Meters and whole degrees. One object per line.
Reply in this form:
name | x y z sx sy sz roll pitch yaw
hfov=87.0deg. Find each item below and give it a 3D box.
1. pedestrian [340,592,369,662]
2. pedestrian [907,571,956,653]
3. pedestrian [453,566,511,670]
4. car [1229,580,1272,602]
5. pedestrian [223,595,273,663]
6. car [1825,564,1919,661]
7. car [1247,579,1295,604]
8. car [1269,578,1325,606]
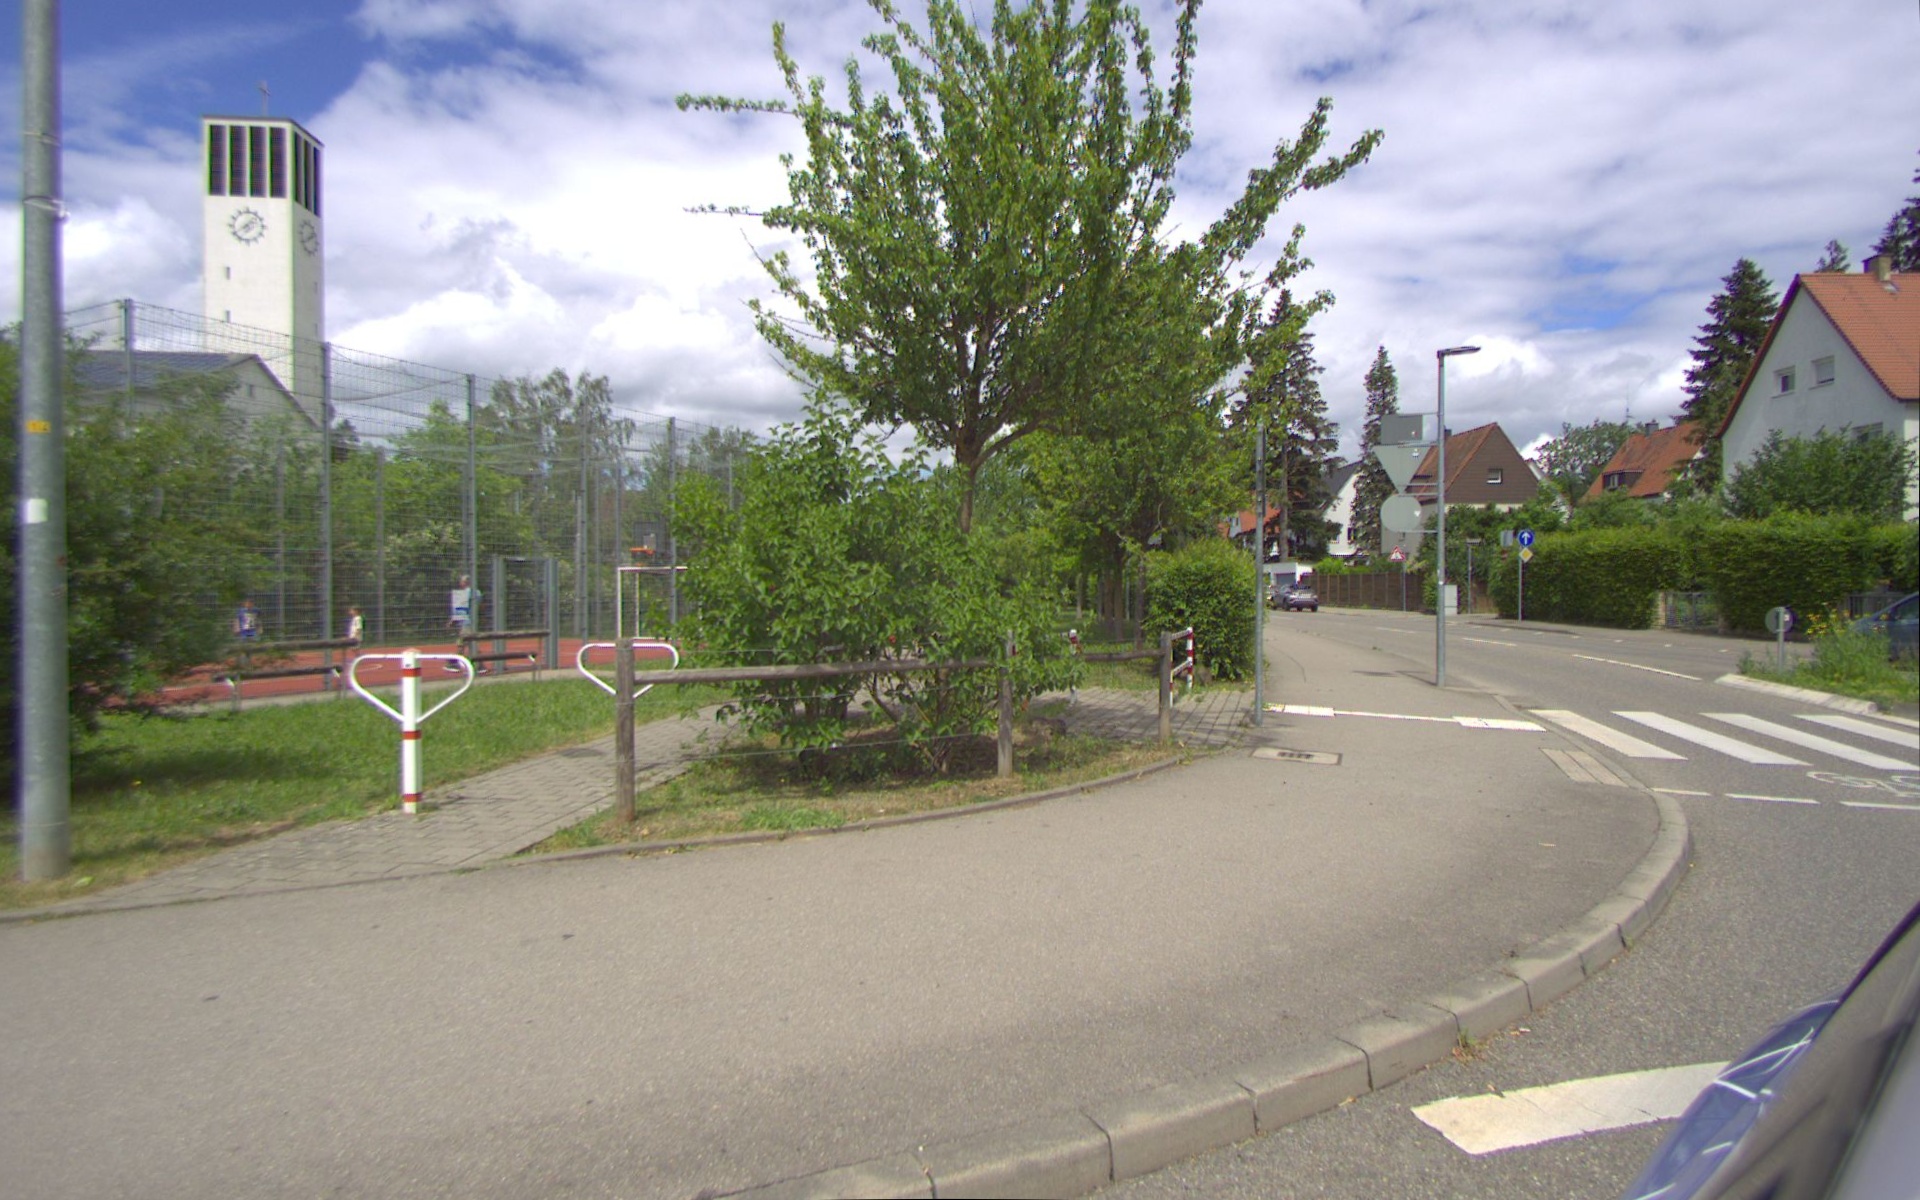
pedestrian | -12.299 0.539 20.565 0.453 1.363 0.799 -2 0 -30
pedestrian | -0.637 0.246 22.115 0.877 1.715 0.933 -2 0 -10
pedestrian | -8.809 0.320 18.652 0.547 1.863 0.745 -2 0 25
car | 19.556 -0.621 68.166 1.624 1.445 3.907 1 0 -2
pedestrian | -14.636 0.584 20.805 0.784 1.363 0.462 -2 0 -36
car | 19.016 0.215 18.604 2.096 1.795 4.469 -2 1 -5
car | 19.319 -0.559 63.116 1.839 1.477 4.485 0 1 3
car | 19.159 -0.472 57.736 1.964 1.498 4.642 1 1 4
